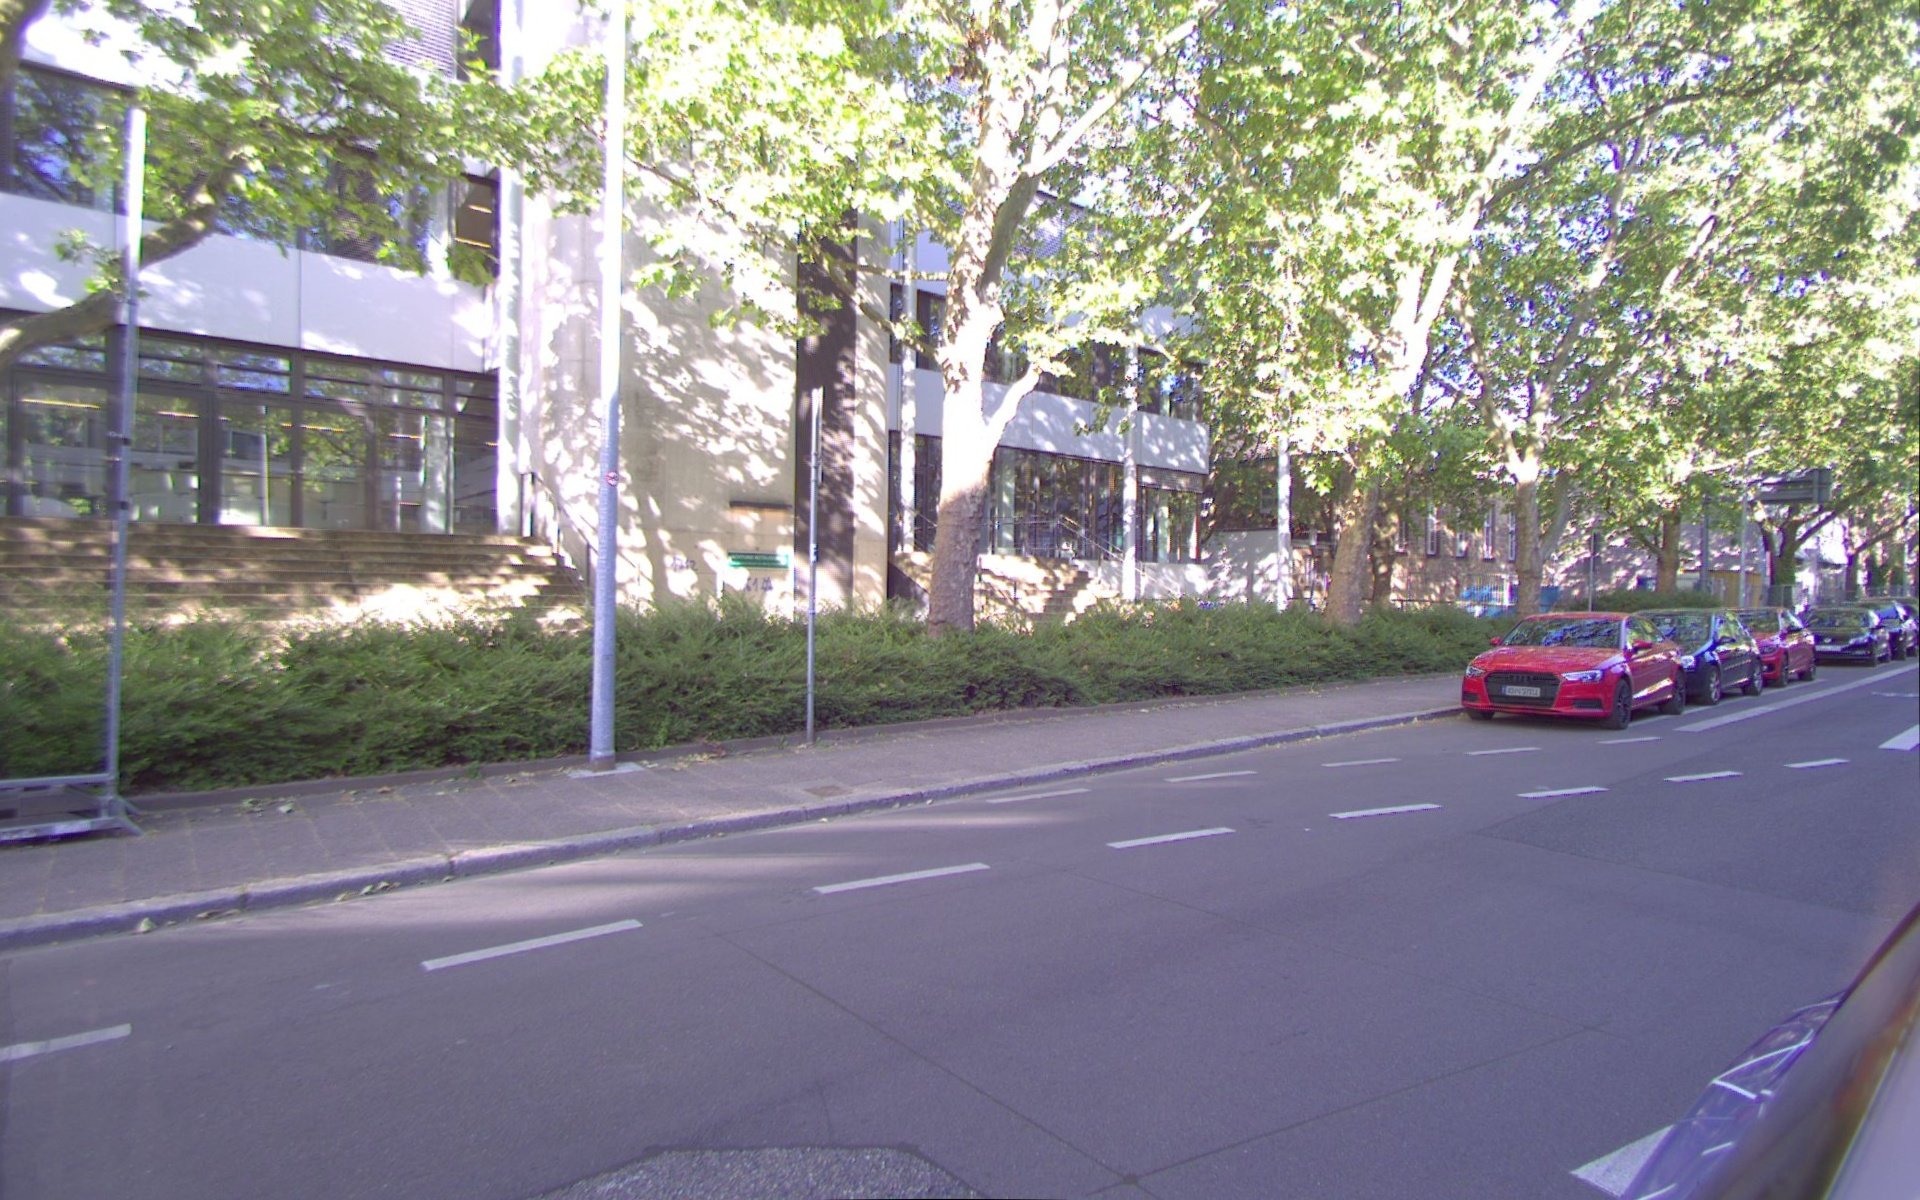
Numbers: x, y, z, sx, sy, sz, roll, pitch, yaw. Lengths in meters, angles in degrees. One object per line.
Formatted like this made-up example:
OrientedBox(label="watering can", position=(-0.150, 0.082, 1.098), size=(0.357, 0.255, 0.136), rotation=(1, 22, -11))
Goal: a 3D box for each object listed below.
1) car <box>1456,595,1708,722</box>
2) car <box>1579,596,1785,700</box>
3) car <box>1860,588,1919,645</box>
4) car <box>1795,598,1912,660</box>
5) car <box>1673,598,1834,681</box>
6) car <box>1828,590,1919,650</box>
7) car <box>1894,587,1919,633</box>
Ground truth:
OrientedBox(label="car", position=(8.381, 0.667, 13.499), size=(4.101, 1.443, 1.773), rotation=(0, -1, -42))
OrientedBox(label="car", position=(11.843, 0.682, 16.522), size=(3.929, 1.475, 1.812), rotation=(0, 1, -40))
OrientedBox(label="car", position=(31.073, 0.487, 33.047), size=(4.188, 1.747, 1.997), rotation=(-1, 0, -41))
OrientedBox(label="car", position=(22.974, 0.685, 25.989), size=(3.930, 1.456, 1.744), rotation=(0, 1, -41))
OrientedBox(label="car", position=(15.717, 0.695, 19.974), size=(3.930, 1.456, 1.789), rotation=(0, 1, -41))
OrientedBox(label="car", position=(26.638, 0.529, 29.187), size=(4.158, 1.601, 1.847), rotation=(0, 1, -41))
OrientedBox(label="car", position=(35.732, 0.368, 37.069), size=(4.004, 1.638, 1.797), rotation=(0, 1, -41))
